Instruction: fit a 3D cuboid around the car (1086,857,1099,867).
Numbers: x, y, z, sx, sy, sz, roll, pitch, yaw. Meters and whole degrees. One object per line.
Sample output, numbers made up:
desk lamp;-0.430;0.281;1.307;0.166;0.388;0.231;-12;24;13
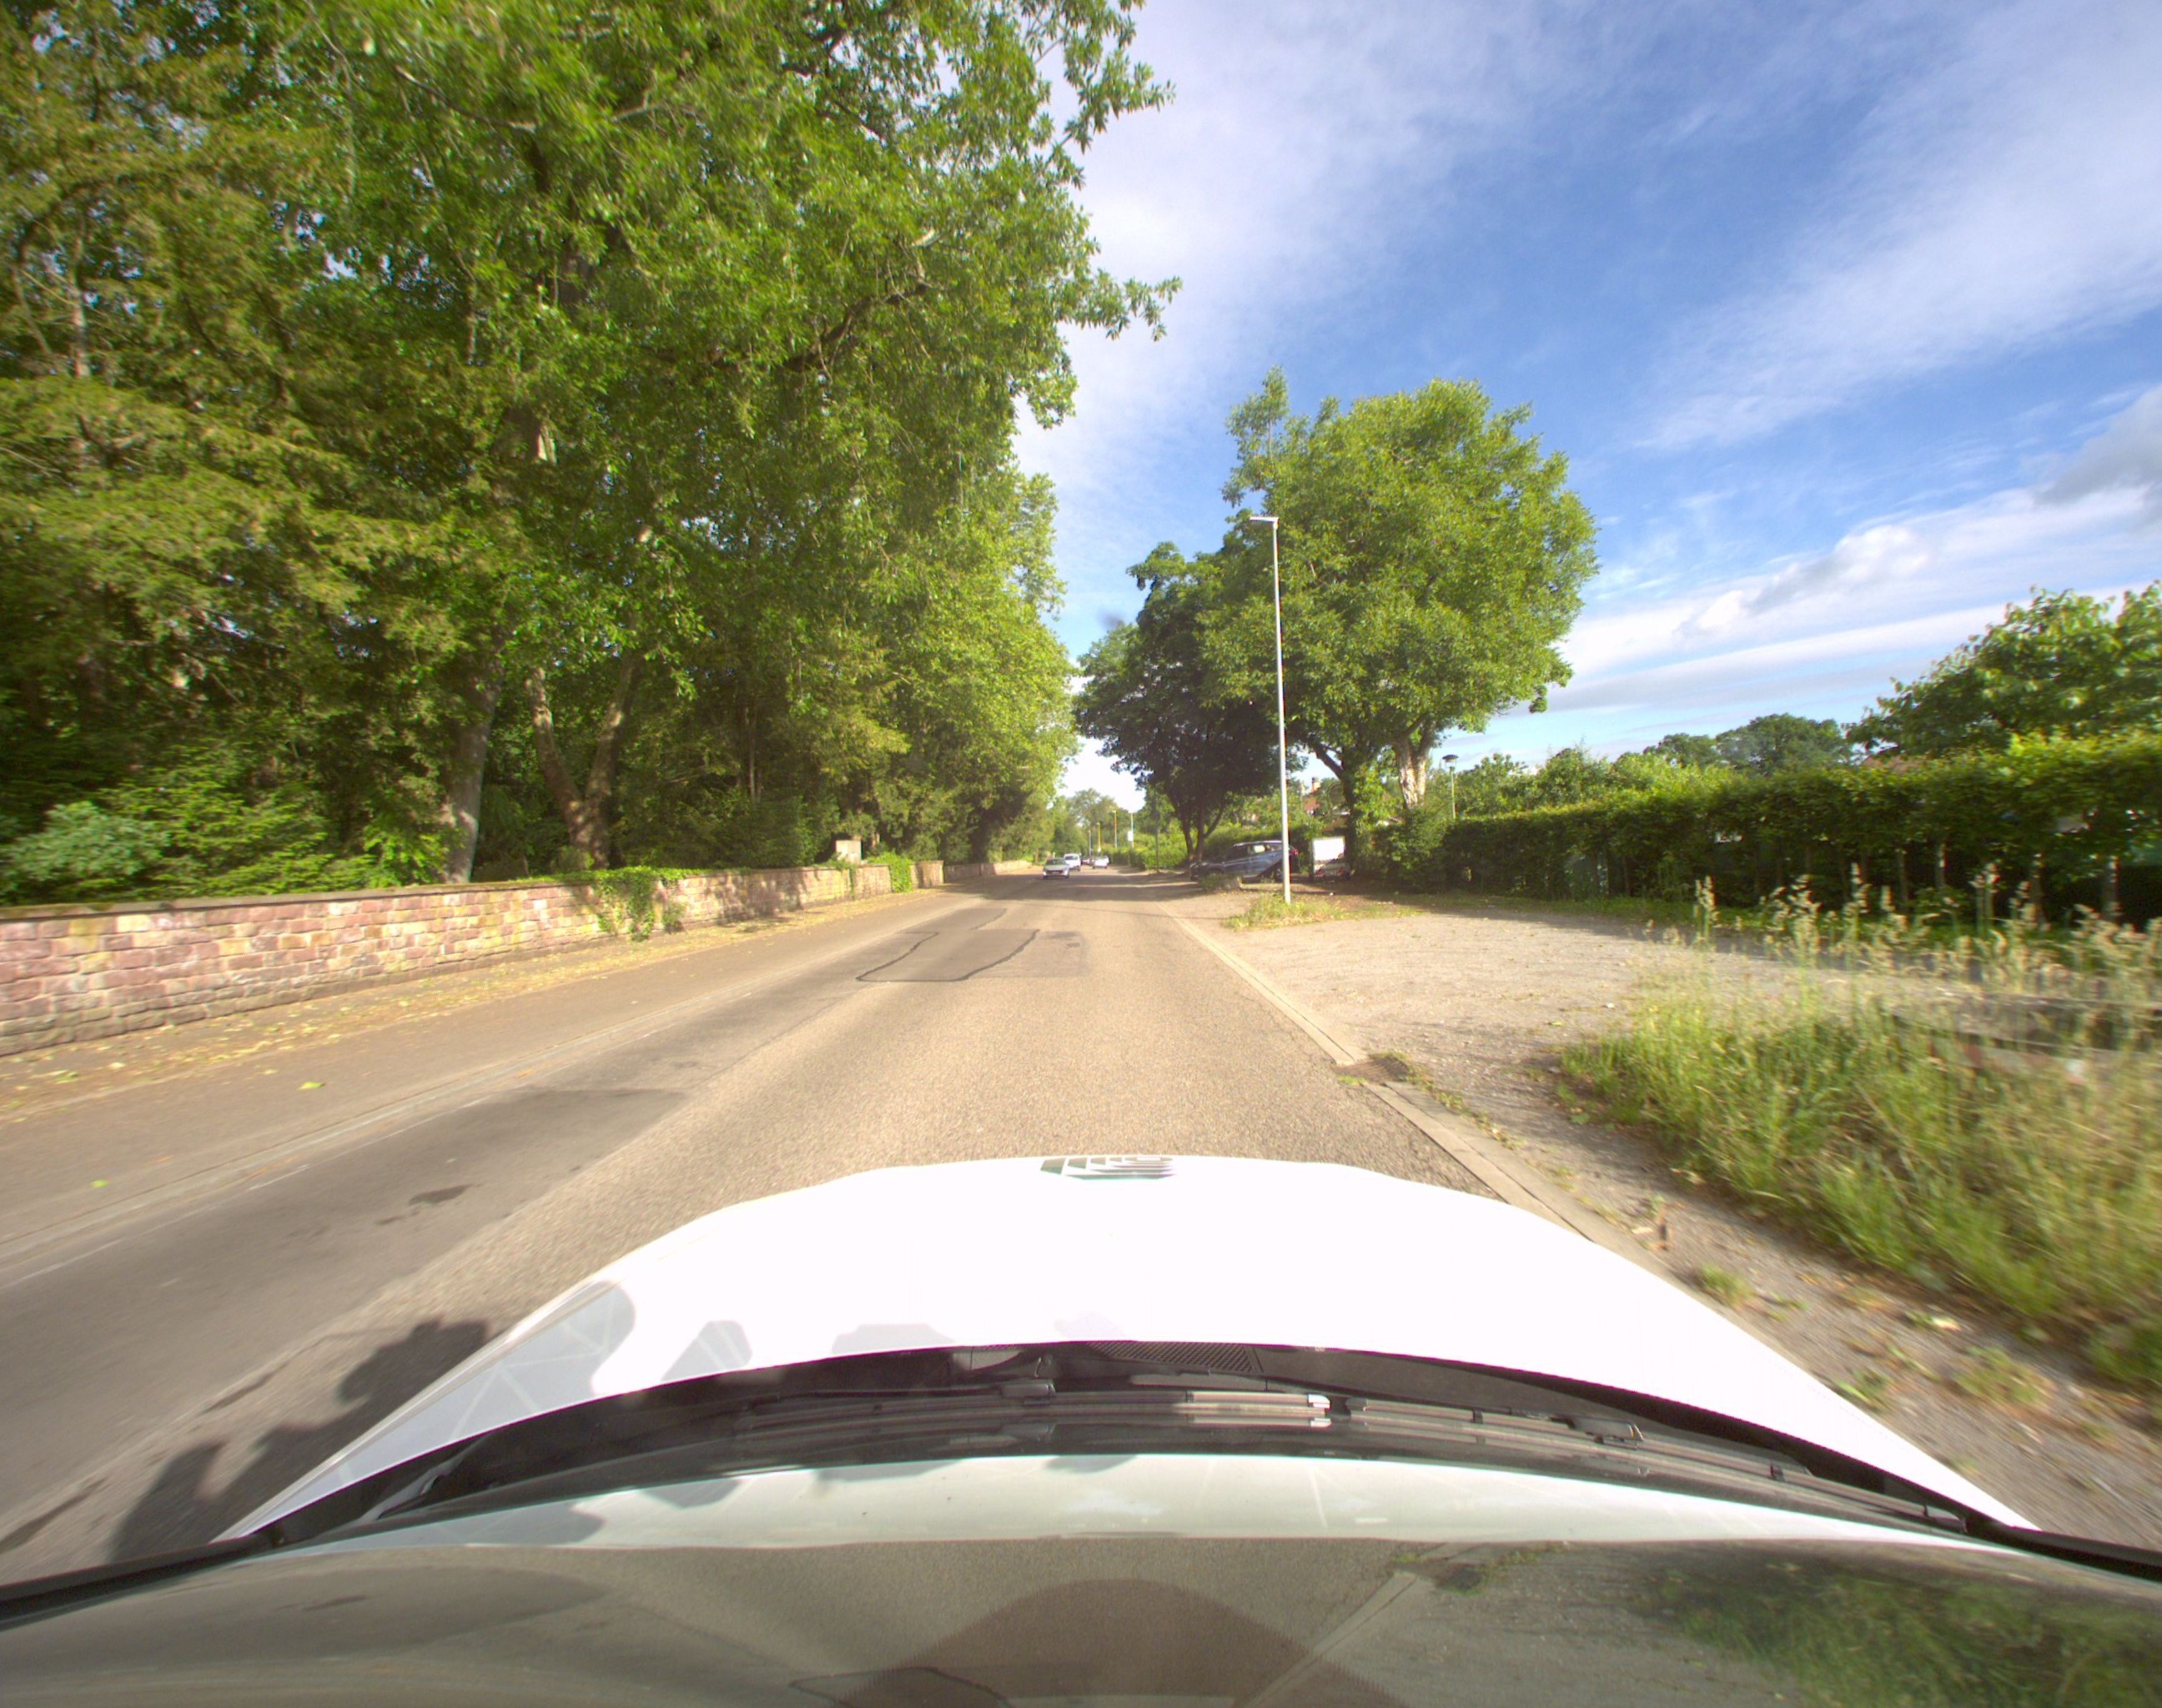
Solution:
car;1.670;1.159;124.071;1.880;1.465;4.054;-2;0;0

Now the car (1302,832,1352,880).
car;9.398;0.049;31.344;1.342;1.632;4.125;-5;0;11

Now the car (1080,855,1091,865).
car;0.756;1.098;147.769;1.880;1.613;4.054;-2;0;0

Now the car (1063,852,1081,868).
car;-0.922;0.602;85.779;1.880;1.564;4.054;-2;0;0

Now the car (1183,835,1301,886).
car;6.498;0.252;33.260;4.387;1.646;2.001;-5;0;1

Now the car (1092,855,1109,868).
car;2.256;0.860;96.760;1.880;1.372;4.054;-2;0;0

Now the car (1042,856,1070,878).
car;-1.732;0.892;57.068;1.881;1.372;4.052;-2;0;-1
